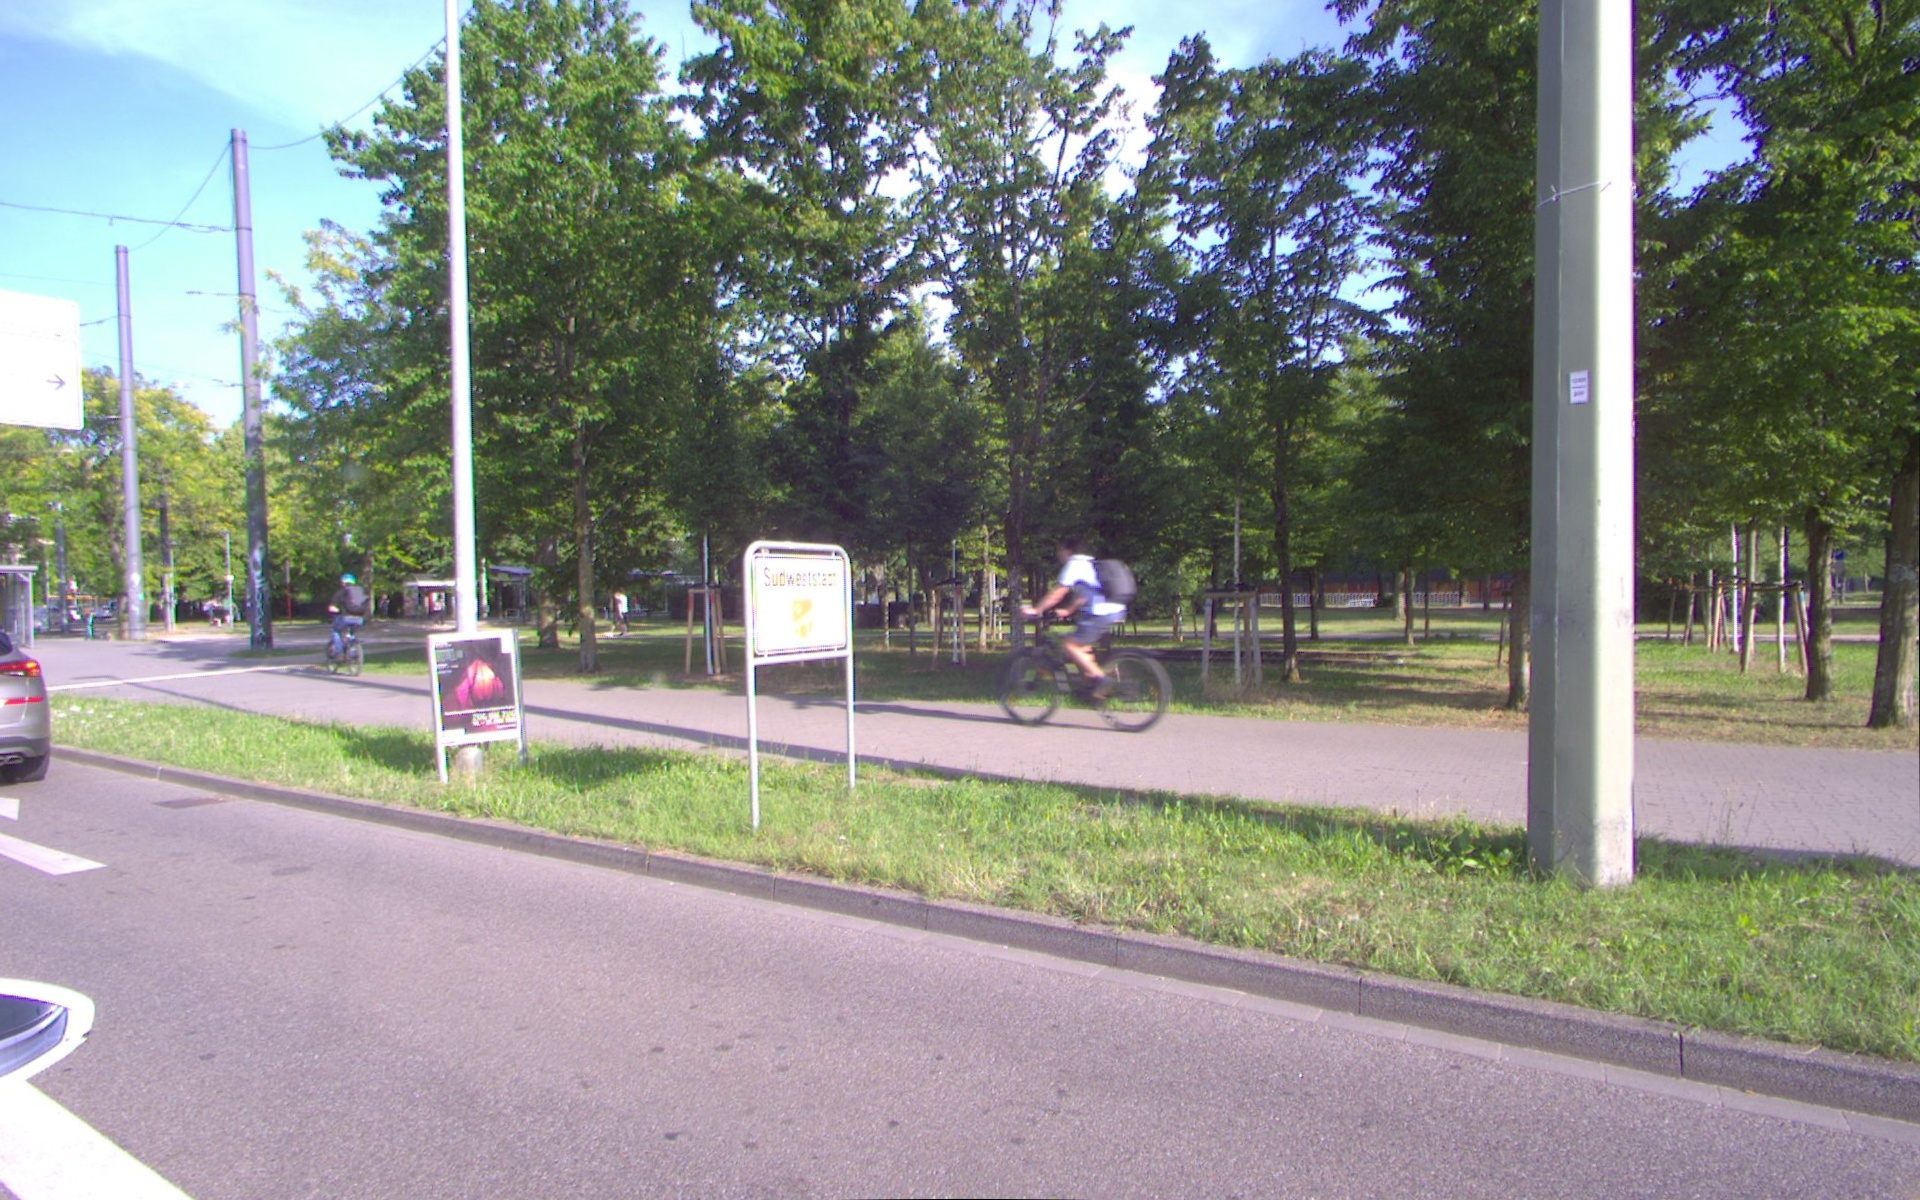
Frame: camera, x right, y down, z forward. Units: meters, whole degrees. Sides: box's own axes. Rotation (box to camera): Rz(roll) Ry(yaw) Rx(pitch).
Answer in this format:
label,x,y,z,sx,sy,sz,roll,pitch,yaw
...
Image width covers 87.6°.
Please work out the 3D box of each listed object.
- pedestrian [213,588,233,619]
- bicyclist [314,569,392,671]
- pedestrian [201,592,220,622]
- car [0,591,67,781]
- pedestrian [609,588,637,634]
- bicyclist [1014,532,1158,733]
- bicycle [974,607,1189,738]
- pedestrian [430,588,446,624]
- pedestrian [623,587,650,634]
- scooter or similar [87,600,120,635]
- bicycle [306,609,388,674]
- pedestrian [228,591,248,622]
label,x,y,z,sx,sy,sz,roll,pitch,yaw
pedestrian,-40.906,0.175,55.565,0.681,1.688,0.639,0,1,32
bicyclist,-11.062,0.346,18.241,1.125,1.770,0.717,0,4,36
pedestrian,-41.757,0.378,55.781,0.681,1.632,0.639,0,1,32
car,-10.059,0.746,9.191,3.760,1.621,1.832,-1,-1,32
pedestrian,-13.499,0.440,40.110,0.867,1.800,0.670,0,-1,33
bicyclist,1.185,0.282,9.399,1.123,1.770,0.647,-1,4,31
bicycle,1.128,0.646,9.475,1.912,1.103,0.639,-1,3,32
pedestrian,-27.597,0.299,52.946,0.594,1.891,0.462,0,-1,12
pedestrian,-13.268,0.437,41.047,0.868,1.922,0.670,0,-1,33
scooter or similar,-31.429,0.639,36.741,1.115,1.248,0.351,0,1,18
bicycle,-11.300,0.746,18.451,1.711,1.103,0.638,0,3,36
pedestrian,-39.792,0.356,55.163,0.681,1.688,0.639,0,1,32
